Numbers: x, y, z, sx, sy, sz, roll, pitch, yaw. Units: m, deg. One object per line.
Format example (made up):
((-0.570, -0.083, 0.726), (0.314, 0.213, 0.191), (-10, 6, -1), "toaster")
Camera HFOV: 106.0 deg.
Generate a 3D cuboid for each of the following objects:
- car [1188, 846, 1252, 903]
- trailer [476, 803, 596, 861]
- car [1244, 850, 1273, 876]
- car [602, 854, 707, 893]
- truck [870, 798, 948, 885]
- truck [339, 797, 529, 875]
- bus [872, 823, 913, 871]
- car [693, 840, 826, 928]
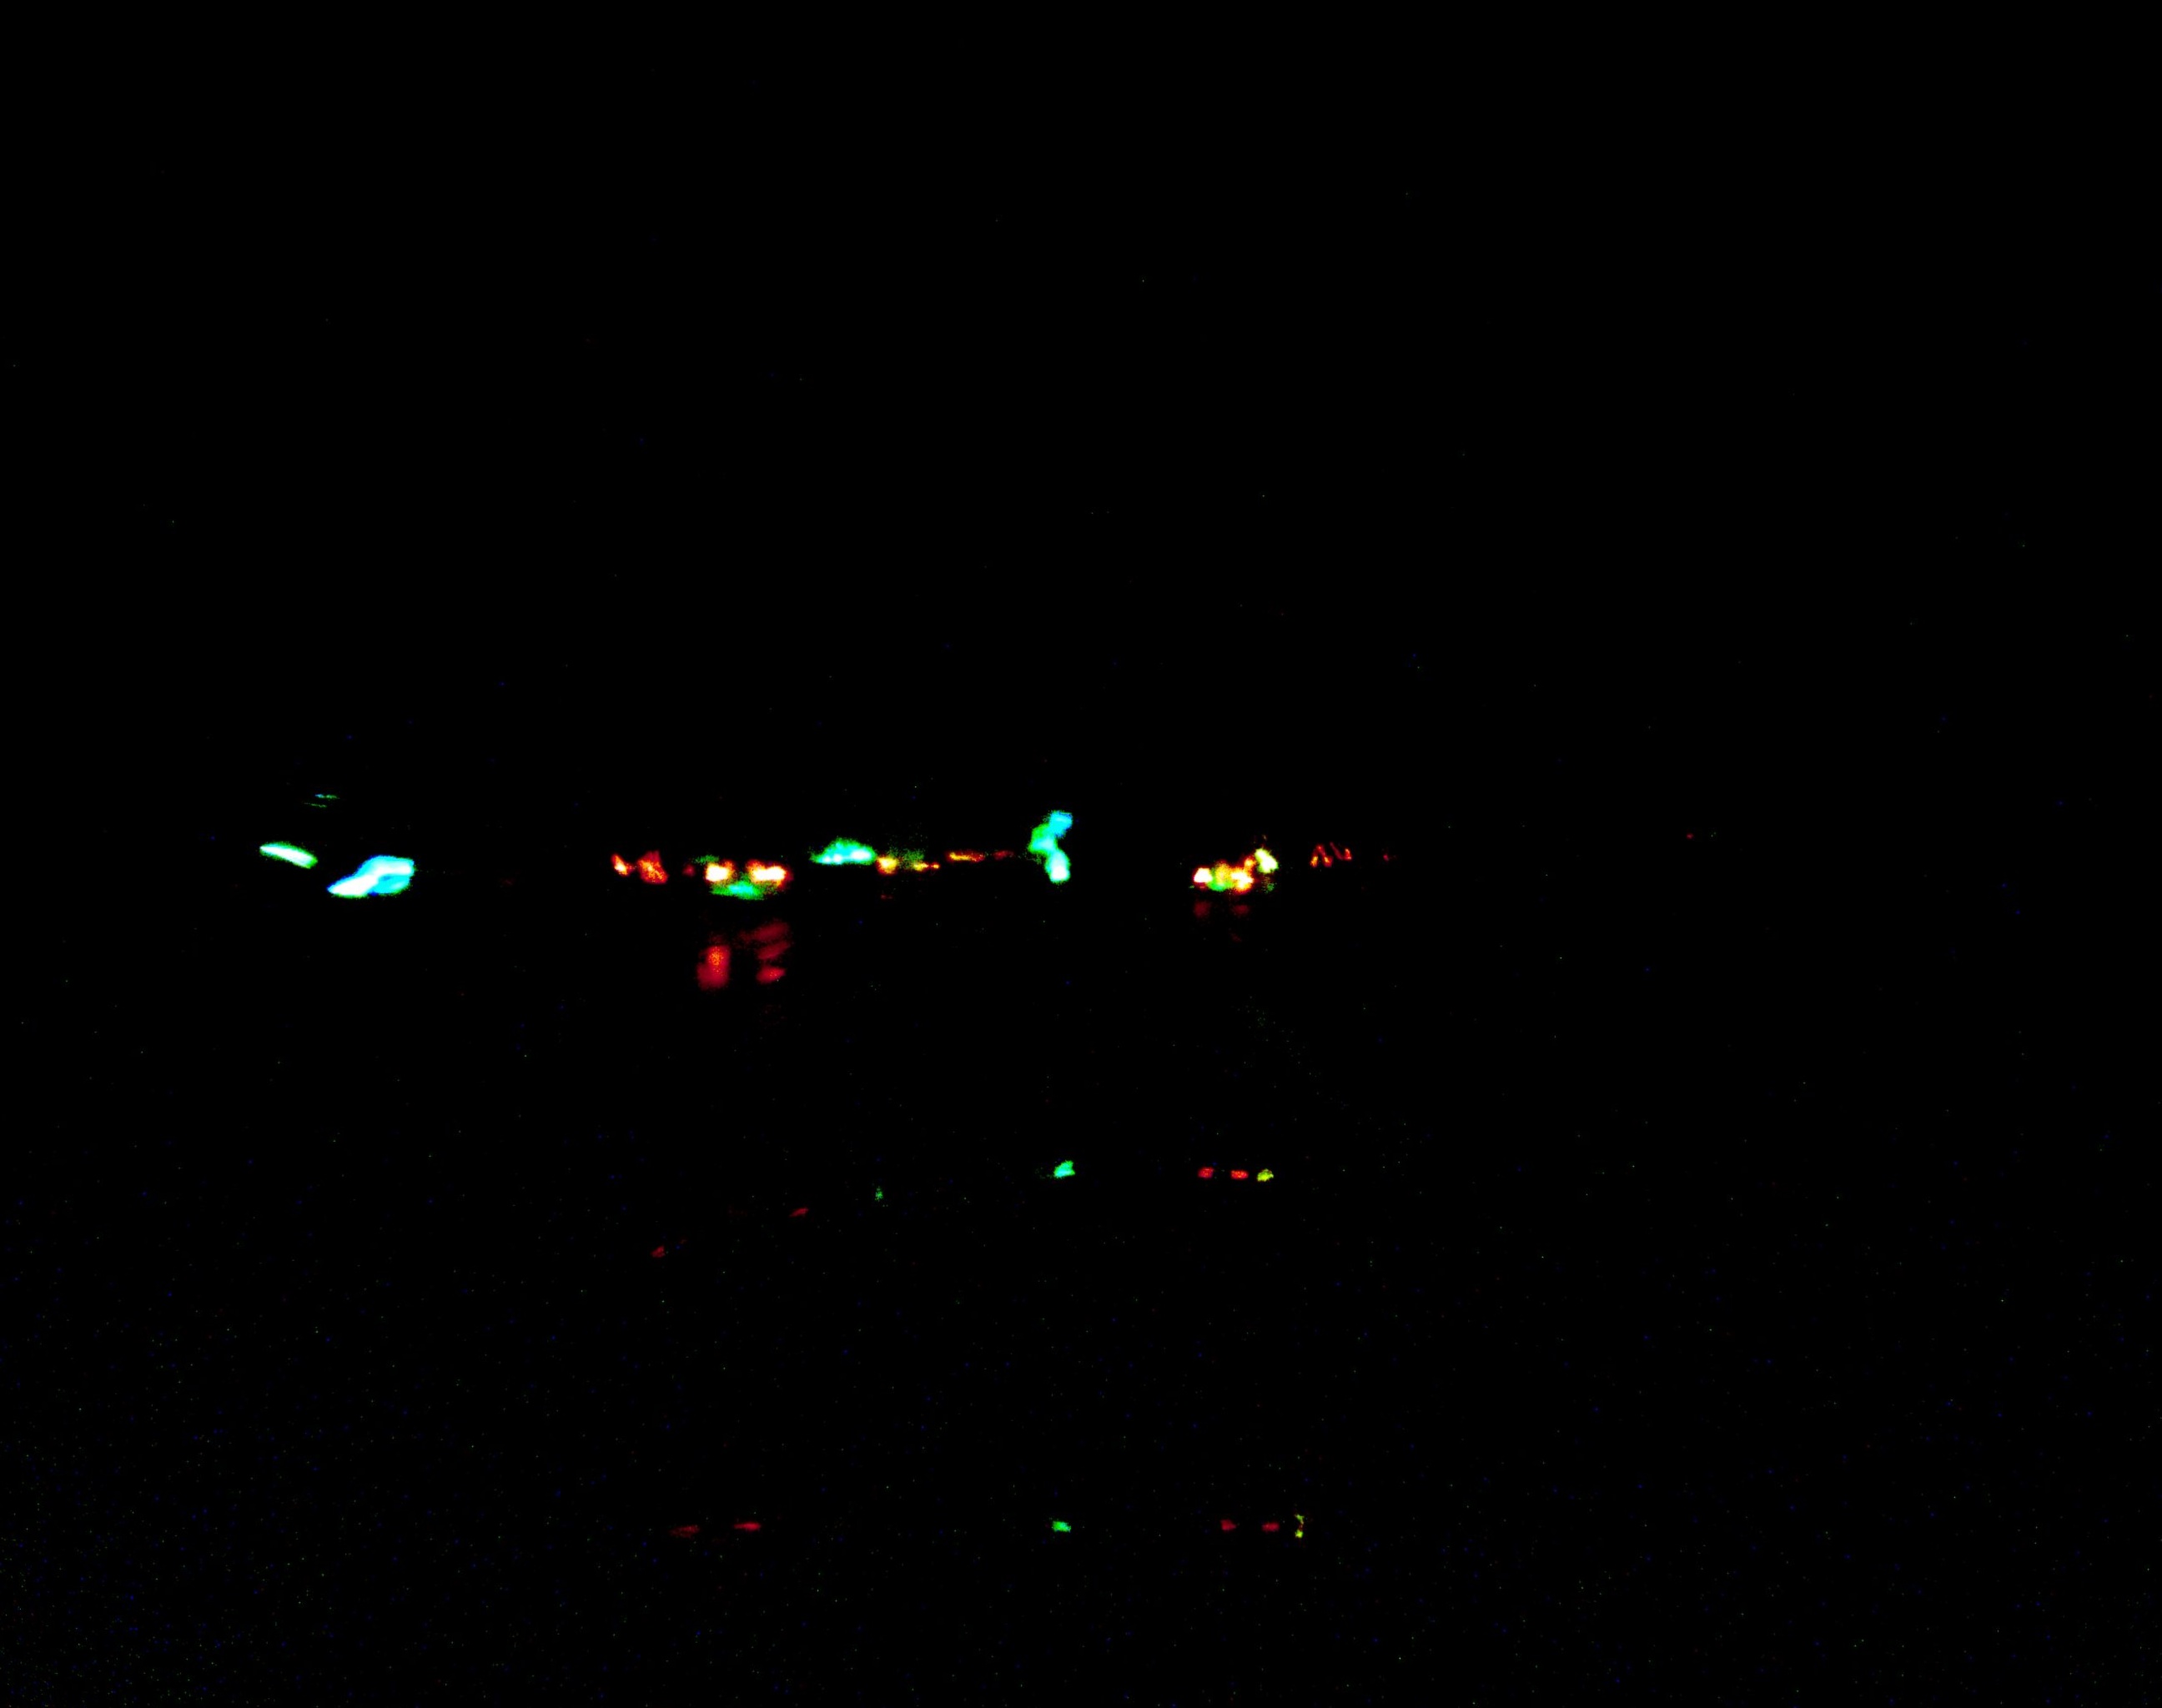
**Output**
((4.764, 0.674, 28.450), (1.983, 1.807, 4.007), (1, 0, 6), "car")
((-35.720, -1.306, 53.889), (2.622, 3.509, 8.871), (1, 0, -6), "trailer")
((12.919, 0.632, 59.191), (1.980, 1.807, 4.014), (1, 0, 13), "car")
((-17.762, 0.773, 34.227), (1.990, 1.476, 5.156), (1, 0, -5), "car")
((-12.138, -0.794, 58.745), (4.205, 5.648, 11.443), (1, 0, -6), "truck")
((-34.721, -0.853, 44.531), (2.622, 3.693, 10.842), (1, 0, -6), "truck")
((-18.975, -0.642, 82.604), (3.096, 4.508, 10.880), (1, 0, -9), "bus")
((-8.144, 0.706, 21.150), (2.124, 2.014, 4.633), (1, 0, -8), "car")
